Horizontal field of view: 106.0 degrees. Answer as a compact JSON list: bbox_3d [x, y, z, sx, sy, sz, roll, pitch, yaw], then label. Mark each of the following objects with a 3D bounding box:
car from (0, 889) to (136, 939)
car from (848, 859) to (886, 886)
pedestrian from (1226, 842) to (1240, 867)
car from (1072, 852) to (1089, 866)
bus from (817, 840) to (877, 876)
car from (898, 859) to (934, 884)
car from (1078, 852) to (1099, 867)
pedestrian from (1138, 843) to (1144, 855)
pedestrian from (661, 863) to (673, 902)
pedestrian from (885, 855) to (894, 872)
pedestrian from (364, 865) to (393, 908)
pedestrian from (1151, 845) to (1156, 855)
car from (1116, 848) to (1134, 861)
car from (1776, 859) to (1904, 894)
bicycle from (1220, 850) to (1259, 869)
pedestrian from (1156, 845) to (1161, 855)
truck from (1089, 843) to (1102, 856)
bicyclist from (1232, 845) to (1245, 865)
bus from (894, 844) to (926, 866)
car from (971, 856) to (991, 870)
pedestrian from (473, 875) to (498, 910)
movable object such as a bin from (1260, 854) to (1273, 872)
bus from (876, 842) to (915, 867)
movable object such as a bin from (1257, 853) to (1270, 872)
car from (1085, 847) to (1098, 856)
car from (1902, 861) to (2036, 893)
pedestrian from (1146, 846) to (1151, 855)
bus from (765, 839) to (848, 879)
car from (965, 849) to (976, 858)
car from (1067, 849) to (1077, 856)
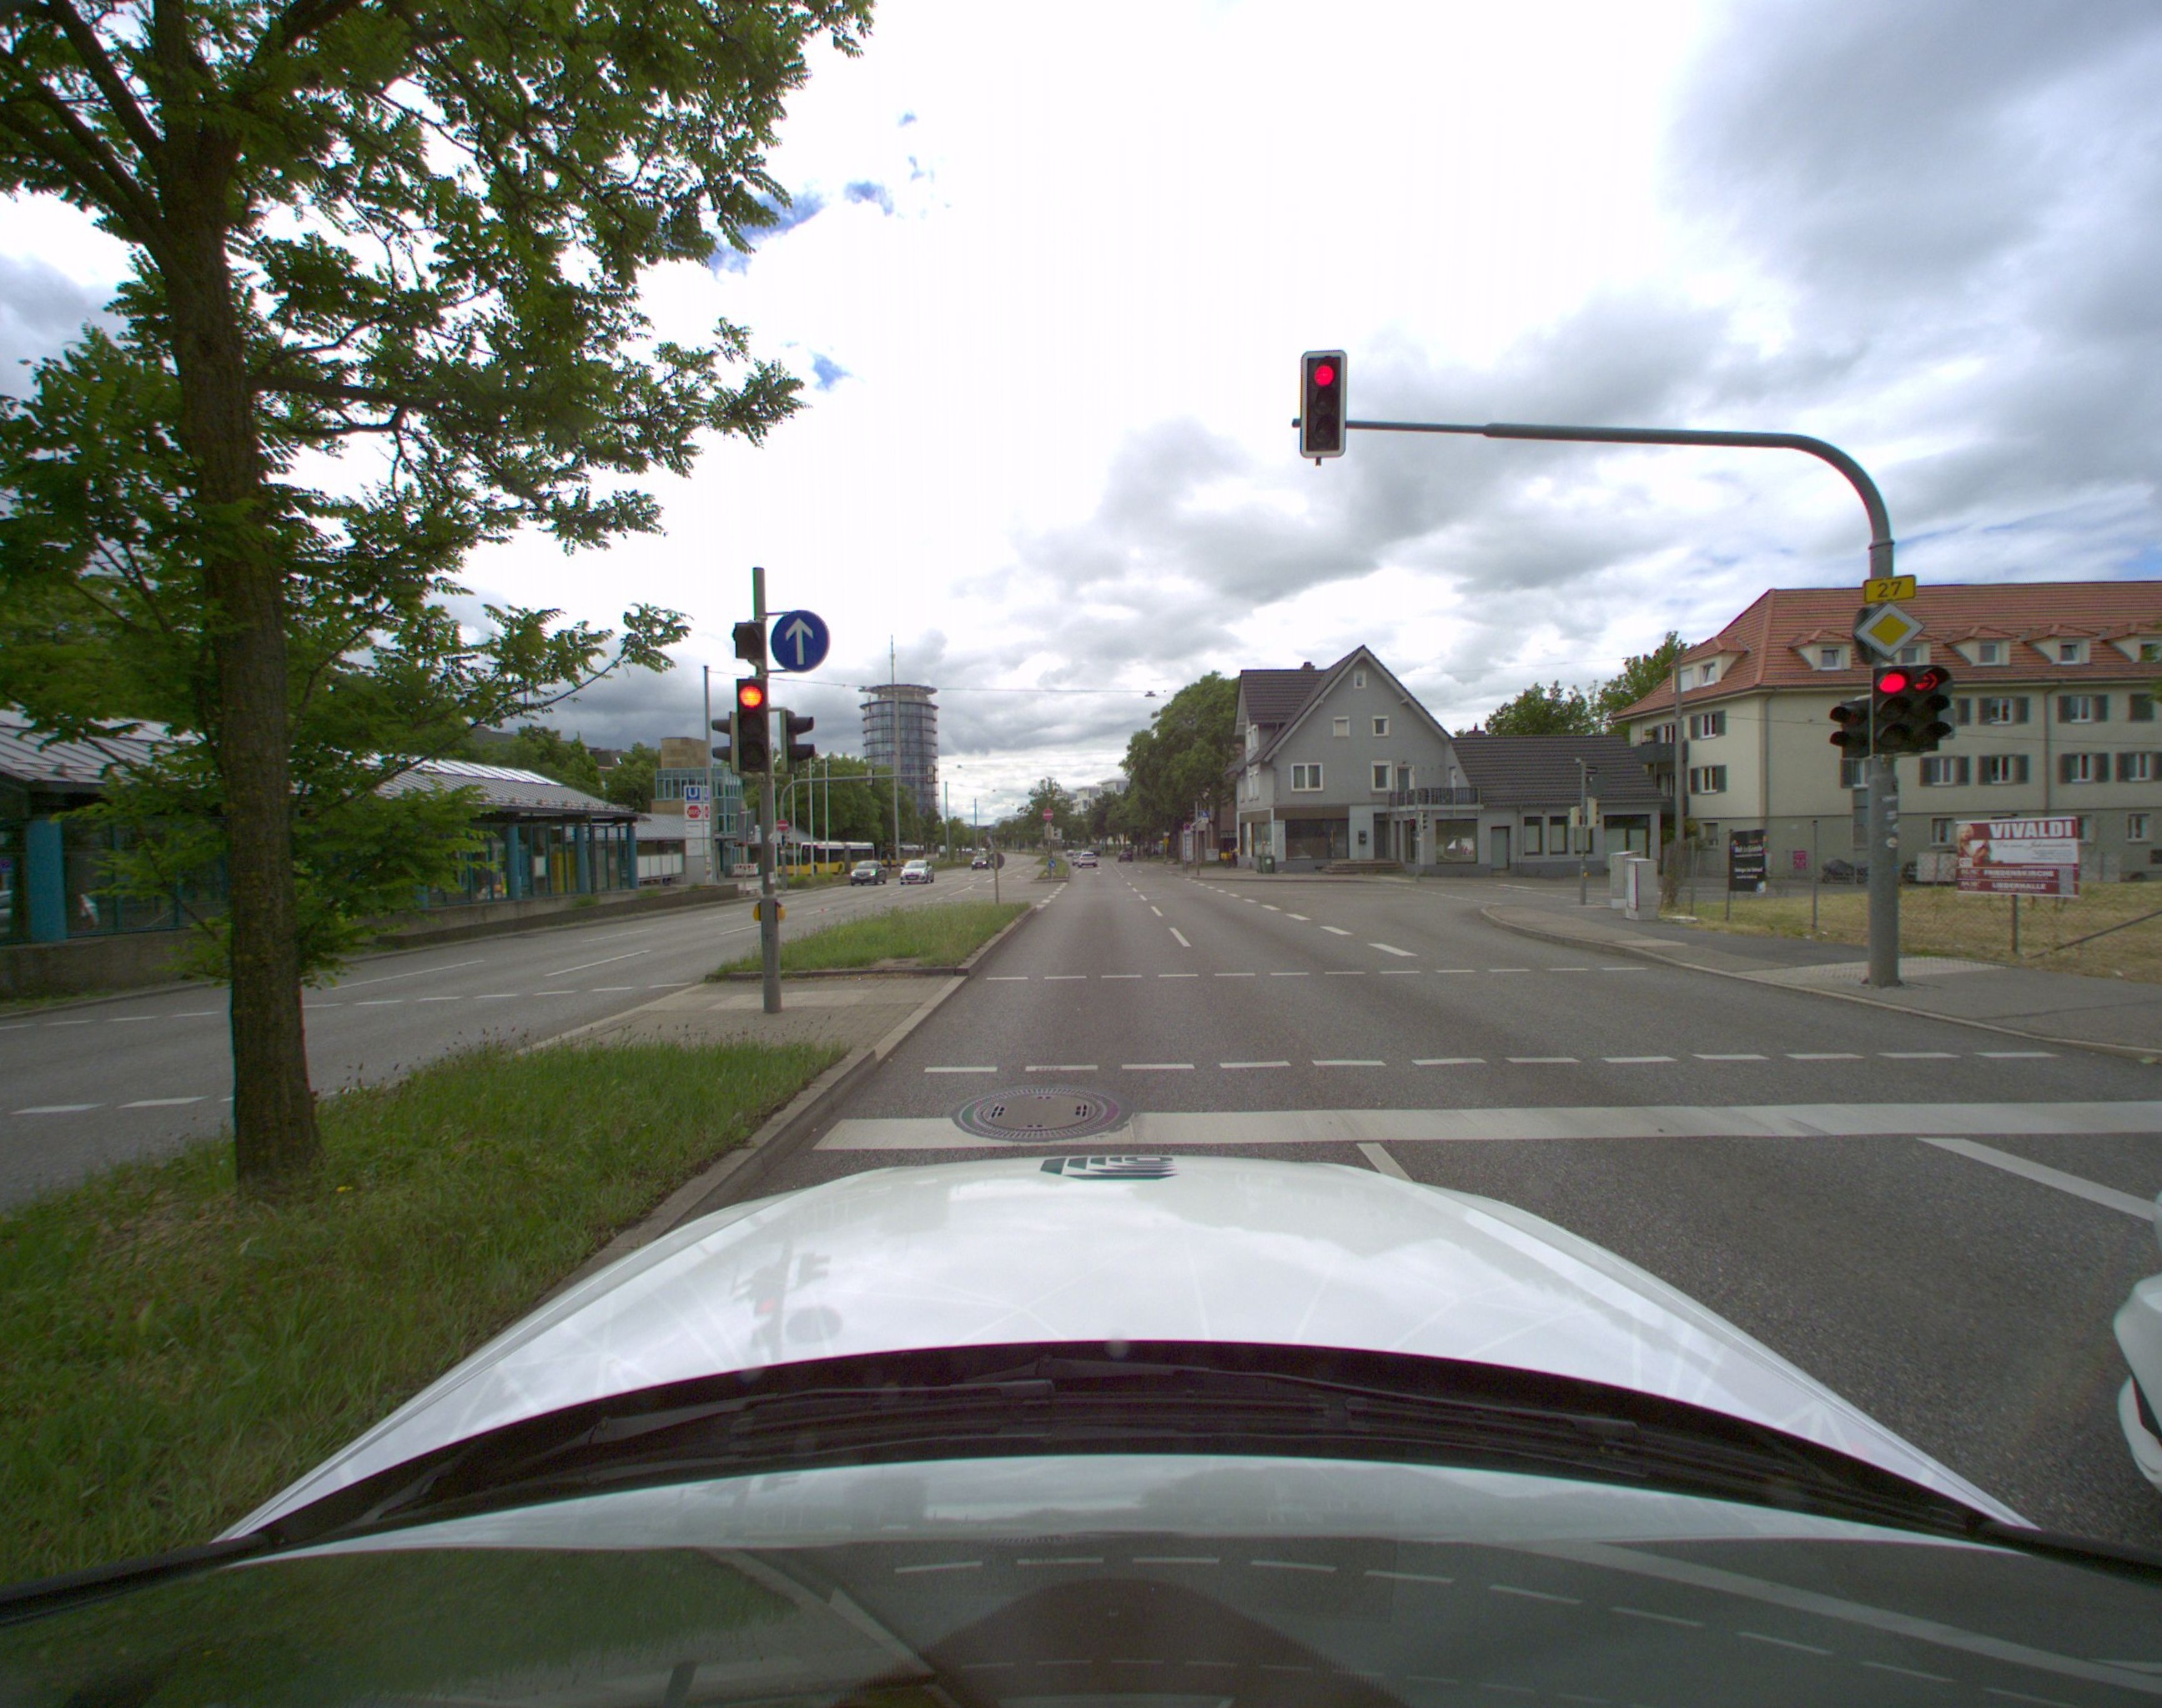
[{"bbox_3d":[-28.358,1.620,21.669,1.818,1.168,3.996,-2,0,-2],"label":"car"},{"bbox_3d":[-13.495,1.152,51.527,1.681,1.578,3.344,-2,0,-4],"label":"car"},{"bbox_3d":[11.338,0.040,60.567,0.698,1.780,0.876,-2,0,32],"label":"pedestrian"},{"bbox_3d":[-0.049,0.549,92.618,1.817,1.540,4.112,-3,0,-1],"label":"car"},{"bbox_3d":[-23.355,0.379,81.861,2.975,3.270,7.889,-2,0,6],"label":"bus"},{"bbox_3d":[-10.342,1.061,51.316,1.680,1.462,3.552,-2,0,-3],"label":"car"},{"bbox_3d":[0.759,0.530,81.478,1.986,1.477,4.258,-2,0,2],"label":"car"},{"bbox_3d":[10.257,-0.862,139.573,0.967,2.014,0.981,0,-1,1],"label":"pedestrian"},{"bbox_3d":[-17.284,1.174,34.000,0.420,1.591,0.353,-2,0,-28],"label":"pedestrian"},{"bbox_3d":[-21.408,1.084,90.806,0.667,1.897,0.677,-1,-1,-45],"label":"pedestrian"},{"bbox_3d":[-27.706,1.280,32.135,0.520,1.655,0.709,-1,0,-5],"label":"pedestrian"},{"bbox_3d":[11.949,-0.636,134.476,0.649,1.570,0.669,-2,0,-6],"label":"pedestrian"},{"bbox_3d":[5.504,0.078,101.570,1.883,1.494,4.097,-3,-1,-1],"label":"car"},{"bbox_3d":[34.040,0.987,36.611,3.972,1.537,1.871,0,0,2],"label":"car"},{"bbox_3d":[11.023,0.387,56.672,2.423,1.217,1.077,-2,0,-1],"label":"bicycle"},{"bbox_3d":[12.804,-0.666,134.260,0.649,1.570,0.669,-2,0,-6],"label":"pedestrian"},{"bbox_3d":[2.750,-0.801,156.665,2.246,2.416,4.928,-1,0,-3],"label":"truck"},{"bbox_3d":[10.955,0.093,56.668,0.624,1.357,1.077,-2,0,-1],"label":"bicyclist"},{"bbox_3d":[-26.041,0.136,124.320,3.134,3.225,7.765,-2,0,0],"label":"bus"},{"bbox_3d":[-10.926,0.945,89.264,1.696,1.492,3.562,-2,0,1],"label":"car"},{"bbox_3d":[-27.630,1.782,37.779,0.631,1.571,0.663,0,-1,6],"label":"pedestrian"},{"bbox_3d":[10.030,0.480,43.951,0.527,0.979,0.737,-2,0,2],"label":"movable object such as a bin"},{"bbox_3d":[-26.099,0.110,115.311,3.135,3.225,10.282,-2,0,0],"label":"bus"},{"bbox_3d":[10.036,0.463,44.742,0.527,0.979,0.737,-2,0,2],"label":"movable object such as a bin"},{"bbox_3d":[2.092,-0.456,165.279,2.246,1.757,4.928,-2,0,-3],"label":"car"},{"bbox_3d":[39.810,1.024,36.573,3.972,1.377,1.871,0,0,2],"label":"car"},{"bbox_3d":[11.208,-0.604,134.497,0.649,1.570,0.669,-2,0,-6],"label":"pedestrian"},{"bbox_3d":[-24.326,0.411,72.861,2.975,3.250,10.186,-2,0,6],"label":"bus"},{"bbox_3d":[-27.265,-0.151,201.211,1.958,2.014,4.001,0,-1,2],"label":"car"},{"bbox_3d":[-1.916,-0.337,173.466,1.963,1.420,4.017,-2,0,-3],"label":"car"}]
